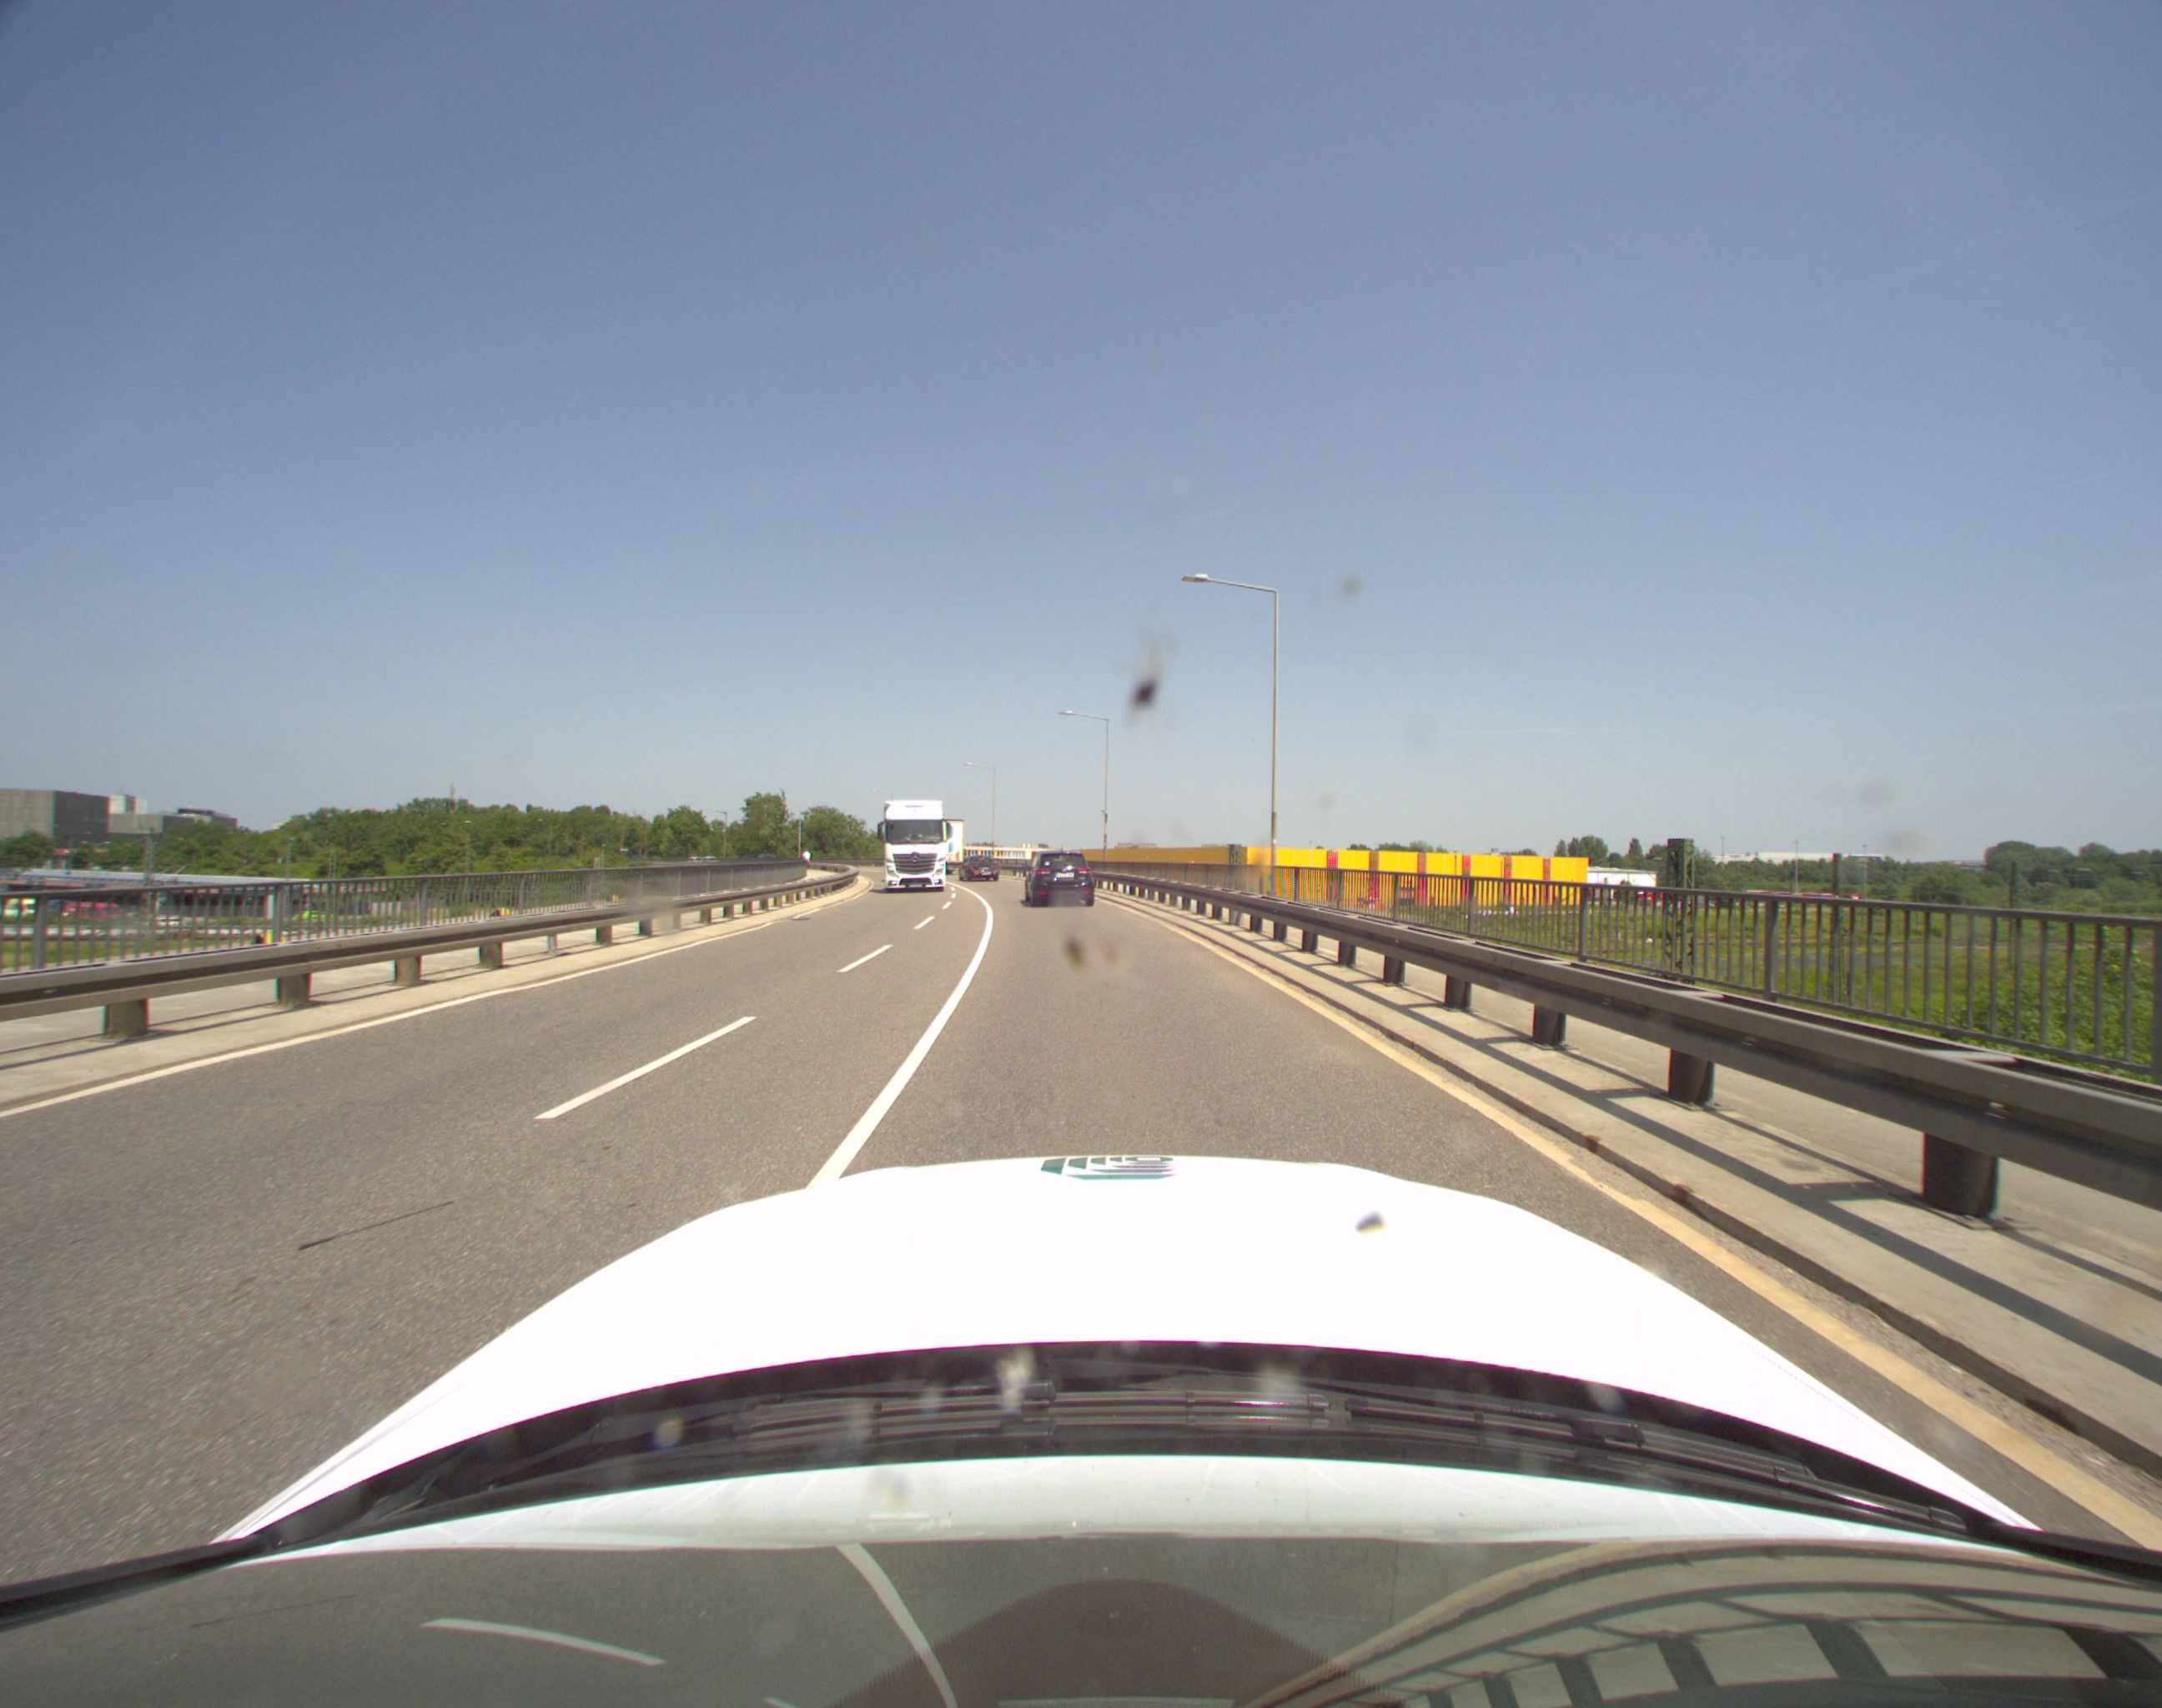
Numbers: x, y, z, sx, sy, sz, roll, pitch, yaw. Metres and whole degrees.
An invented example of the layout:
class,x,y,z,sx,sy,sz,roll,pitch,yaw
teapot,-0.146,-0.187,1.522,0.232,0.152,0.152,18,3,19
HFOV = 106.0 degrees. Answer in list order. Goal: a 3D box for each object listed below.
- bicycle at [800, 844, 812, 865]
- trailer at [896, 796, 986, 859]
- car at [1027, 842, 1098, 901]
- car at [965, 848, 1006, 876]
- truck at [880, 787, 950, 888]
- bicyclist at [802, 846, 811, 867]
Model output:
class,x,y,z,sx,sy,sz,roll,pitch,yaw
bicycle,-24.204,0.031,71.649,0.702,1.801,2.161,0,1,-29
trailer,-10.923,-1.961,62.278,3.589,4.383,11.340,0,1,-27
car,-0.622,0.450,23.983,1.918,1.574,3.886,0,1,-4
car,-5.288,0.380,44.908,2.012,1.429,3.763,0,1,-11
truck,-7.152,-0.715,35.603,2.706,3.991,6.165,0,1,-10
bicyclist,-24.128,0.221,71.504,0.628,1.886,0.706,0,1,-29
